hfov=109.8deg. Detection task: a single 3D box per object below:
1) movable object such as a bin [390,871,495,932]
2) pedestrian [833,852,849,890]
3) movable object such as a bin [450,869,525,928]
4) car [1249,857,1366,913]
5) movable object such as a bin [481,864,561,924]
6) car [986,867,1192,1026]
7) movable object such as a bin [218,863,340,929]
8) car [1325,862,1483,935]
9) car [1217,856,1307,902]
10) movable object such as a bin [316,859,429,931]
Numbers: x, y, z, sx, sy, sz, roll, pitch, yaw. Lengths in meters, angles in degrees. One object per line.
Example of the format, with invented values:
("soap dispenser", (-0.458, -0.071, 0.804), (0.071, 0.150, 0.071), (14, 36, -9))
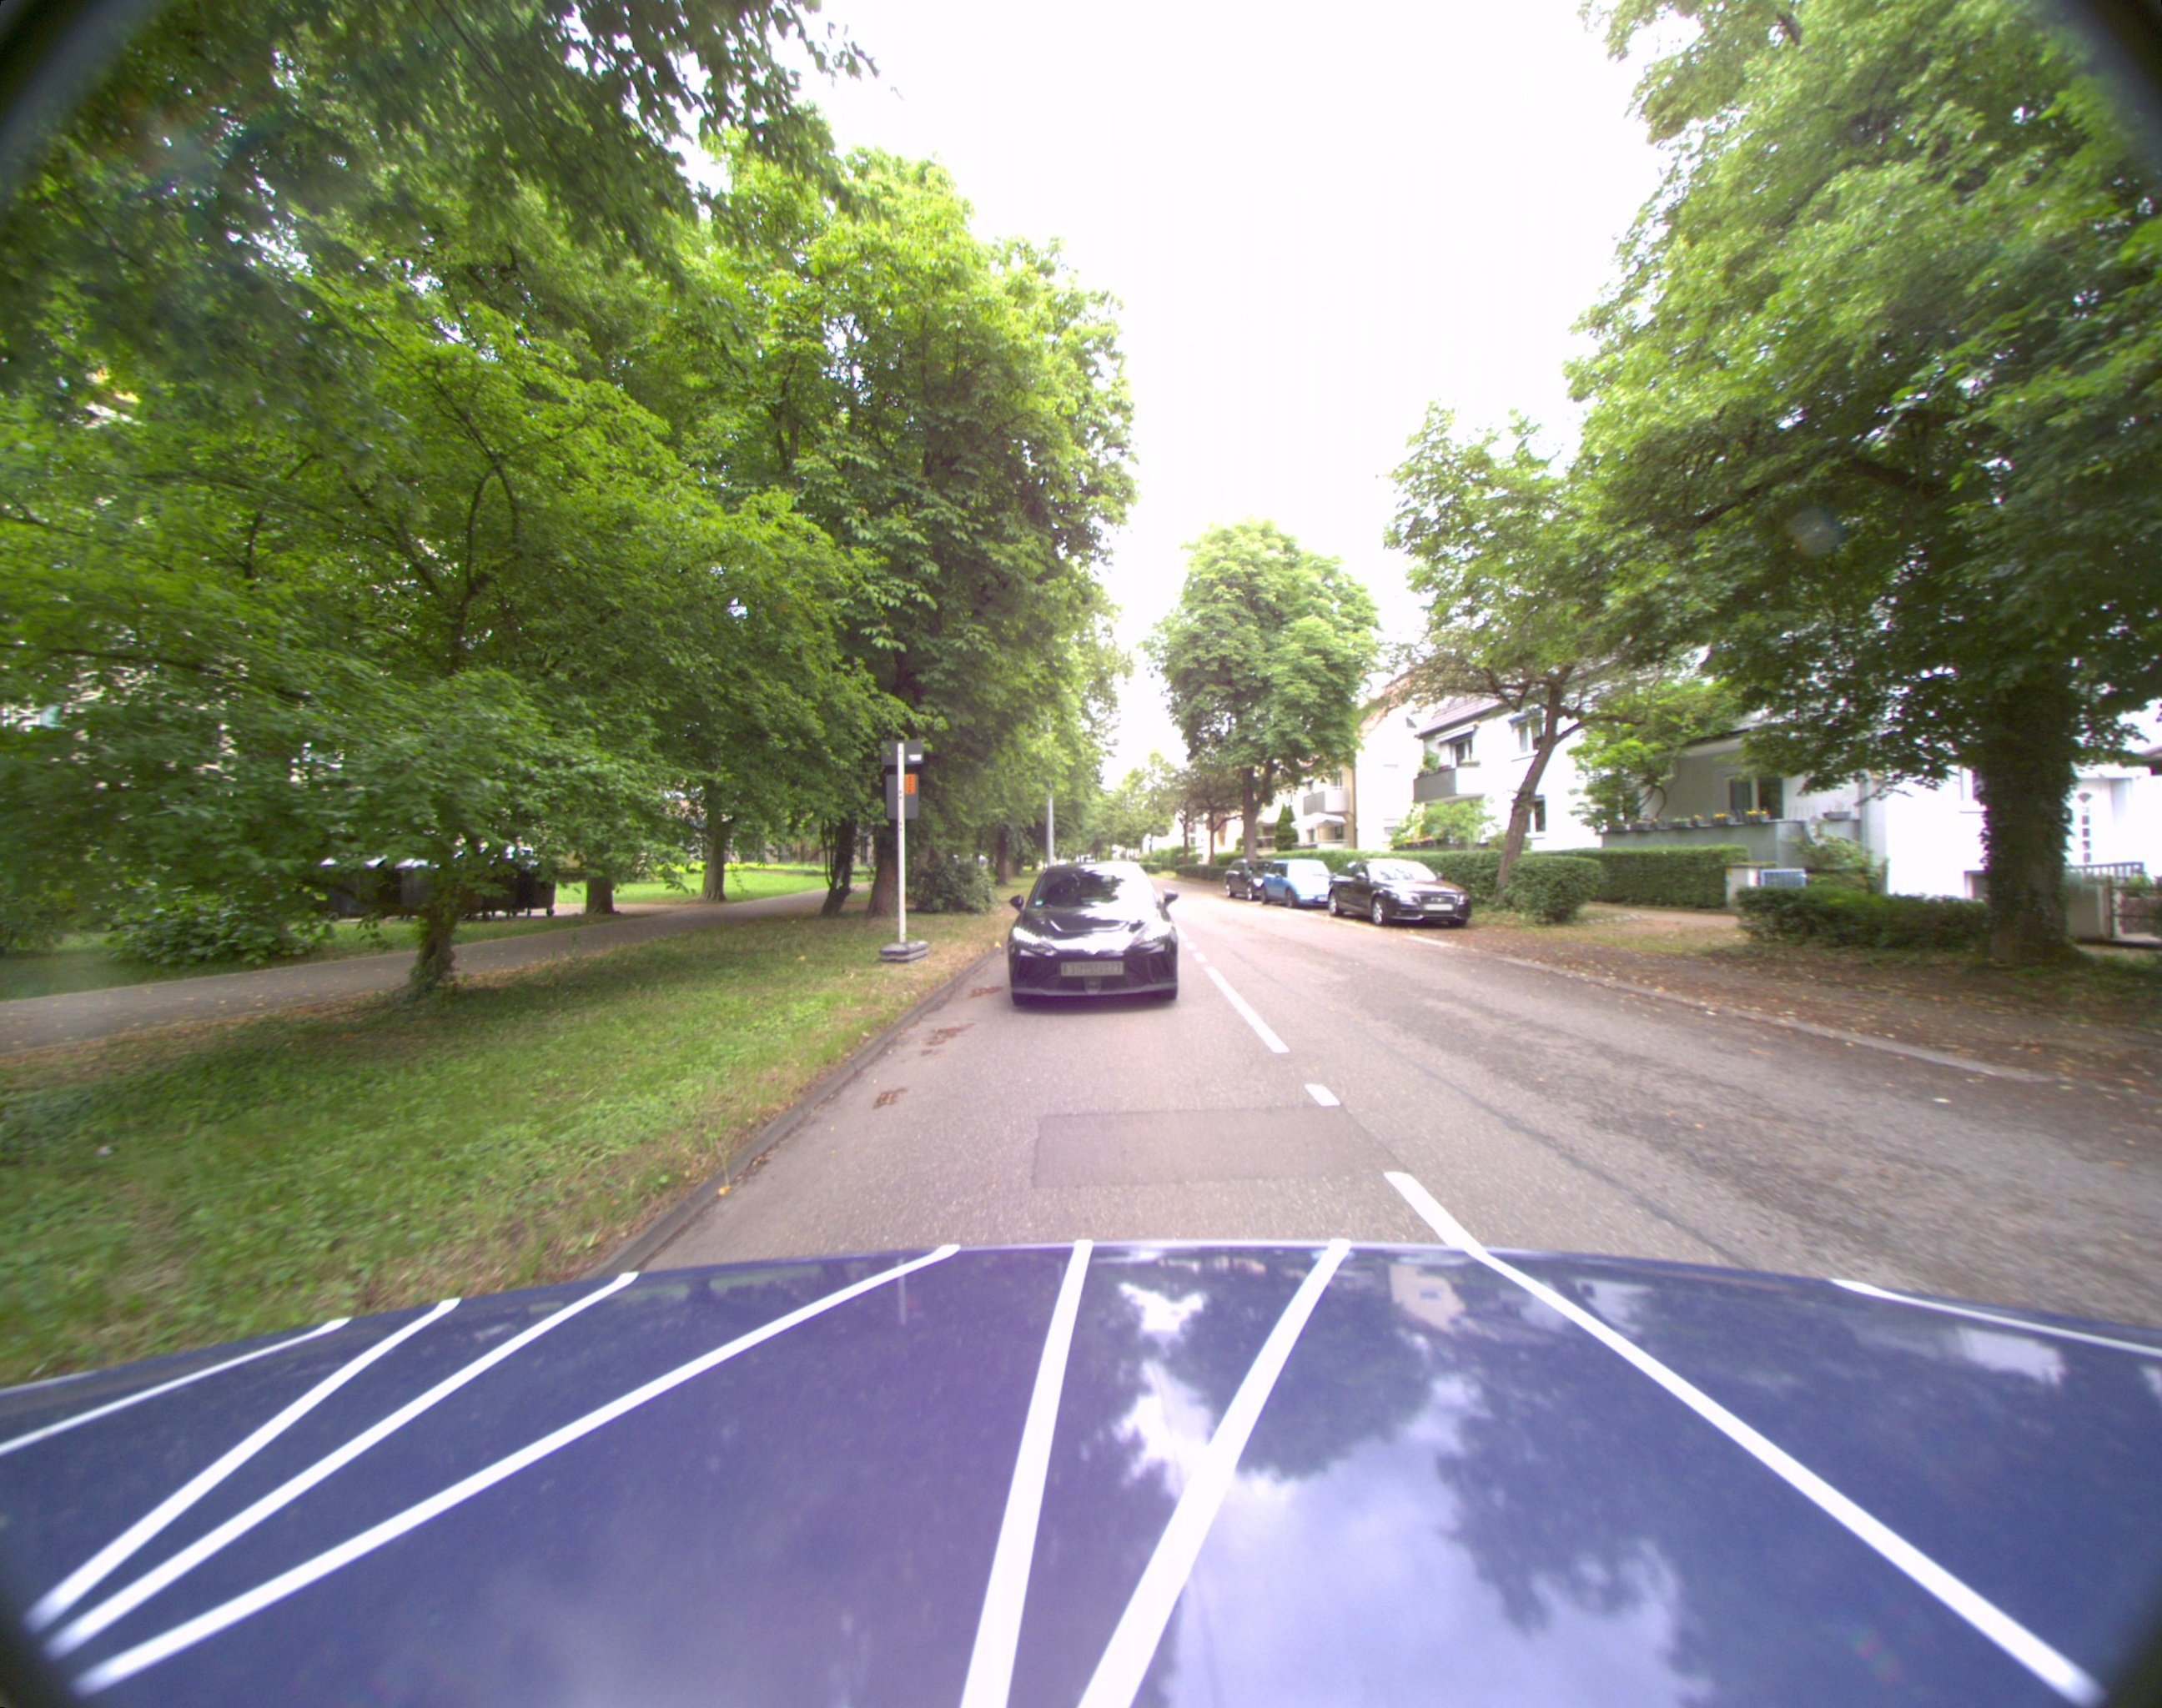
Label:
("movable object such as a bin", (-13.677, 0.994, 16.347), (1.195, 1.213, 1.348), (0, 0, -9))
("pedestrian", (-10.974, 0.773, 34.756), (0.565, 1.730, 0.570), (1, 0, -1))
("movable object such as a bin", (-13.683, 1.012, 17.545), (1.026, 1.296, 0.959), (0, 0, -9))
("car", (6.674, 0.851, 22.927), (1.889, 1.492, 4.564), (0, 0, -4))
("movable object such as a bin", (-13.705, 0.950, 18.639), (1.195, 1.405, 1.110), (0, 0, -9))
("car", (0.063, 0.935, 9.720), (1.999, 1.491, 4.614), (0, 0, 0))
("movable object such as a bin", (-16.931, 0.860, 16.094), (1.195, 1.334, 1.348), (0, 0, -9))
("car", (6.979, 0.892, 16.911), (1.735, 1.394, 4.171), (0, 0, 0))
("car", (6.459, 0.848, 27.677), (1.889, 1.524, 4.564), (0, 0, -4))
("movable object such as a bin", (-14.990, 0.837, 16.131), (1.195, 1.448, 1.348), (0, 0, -9))
